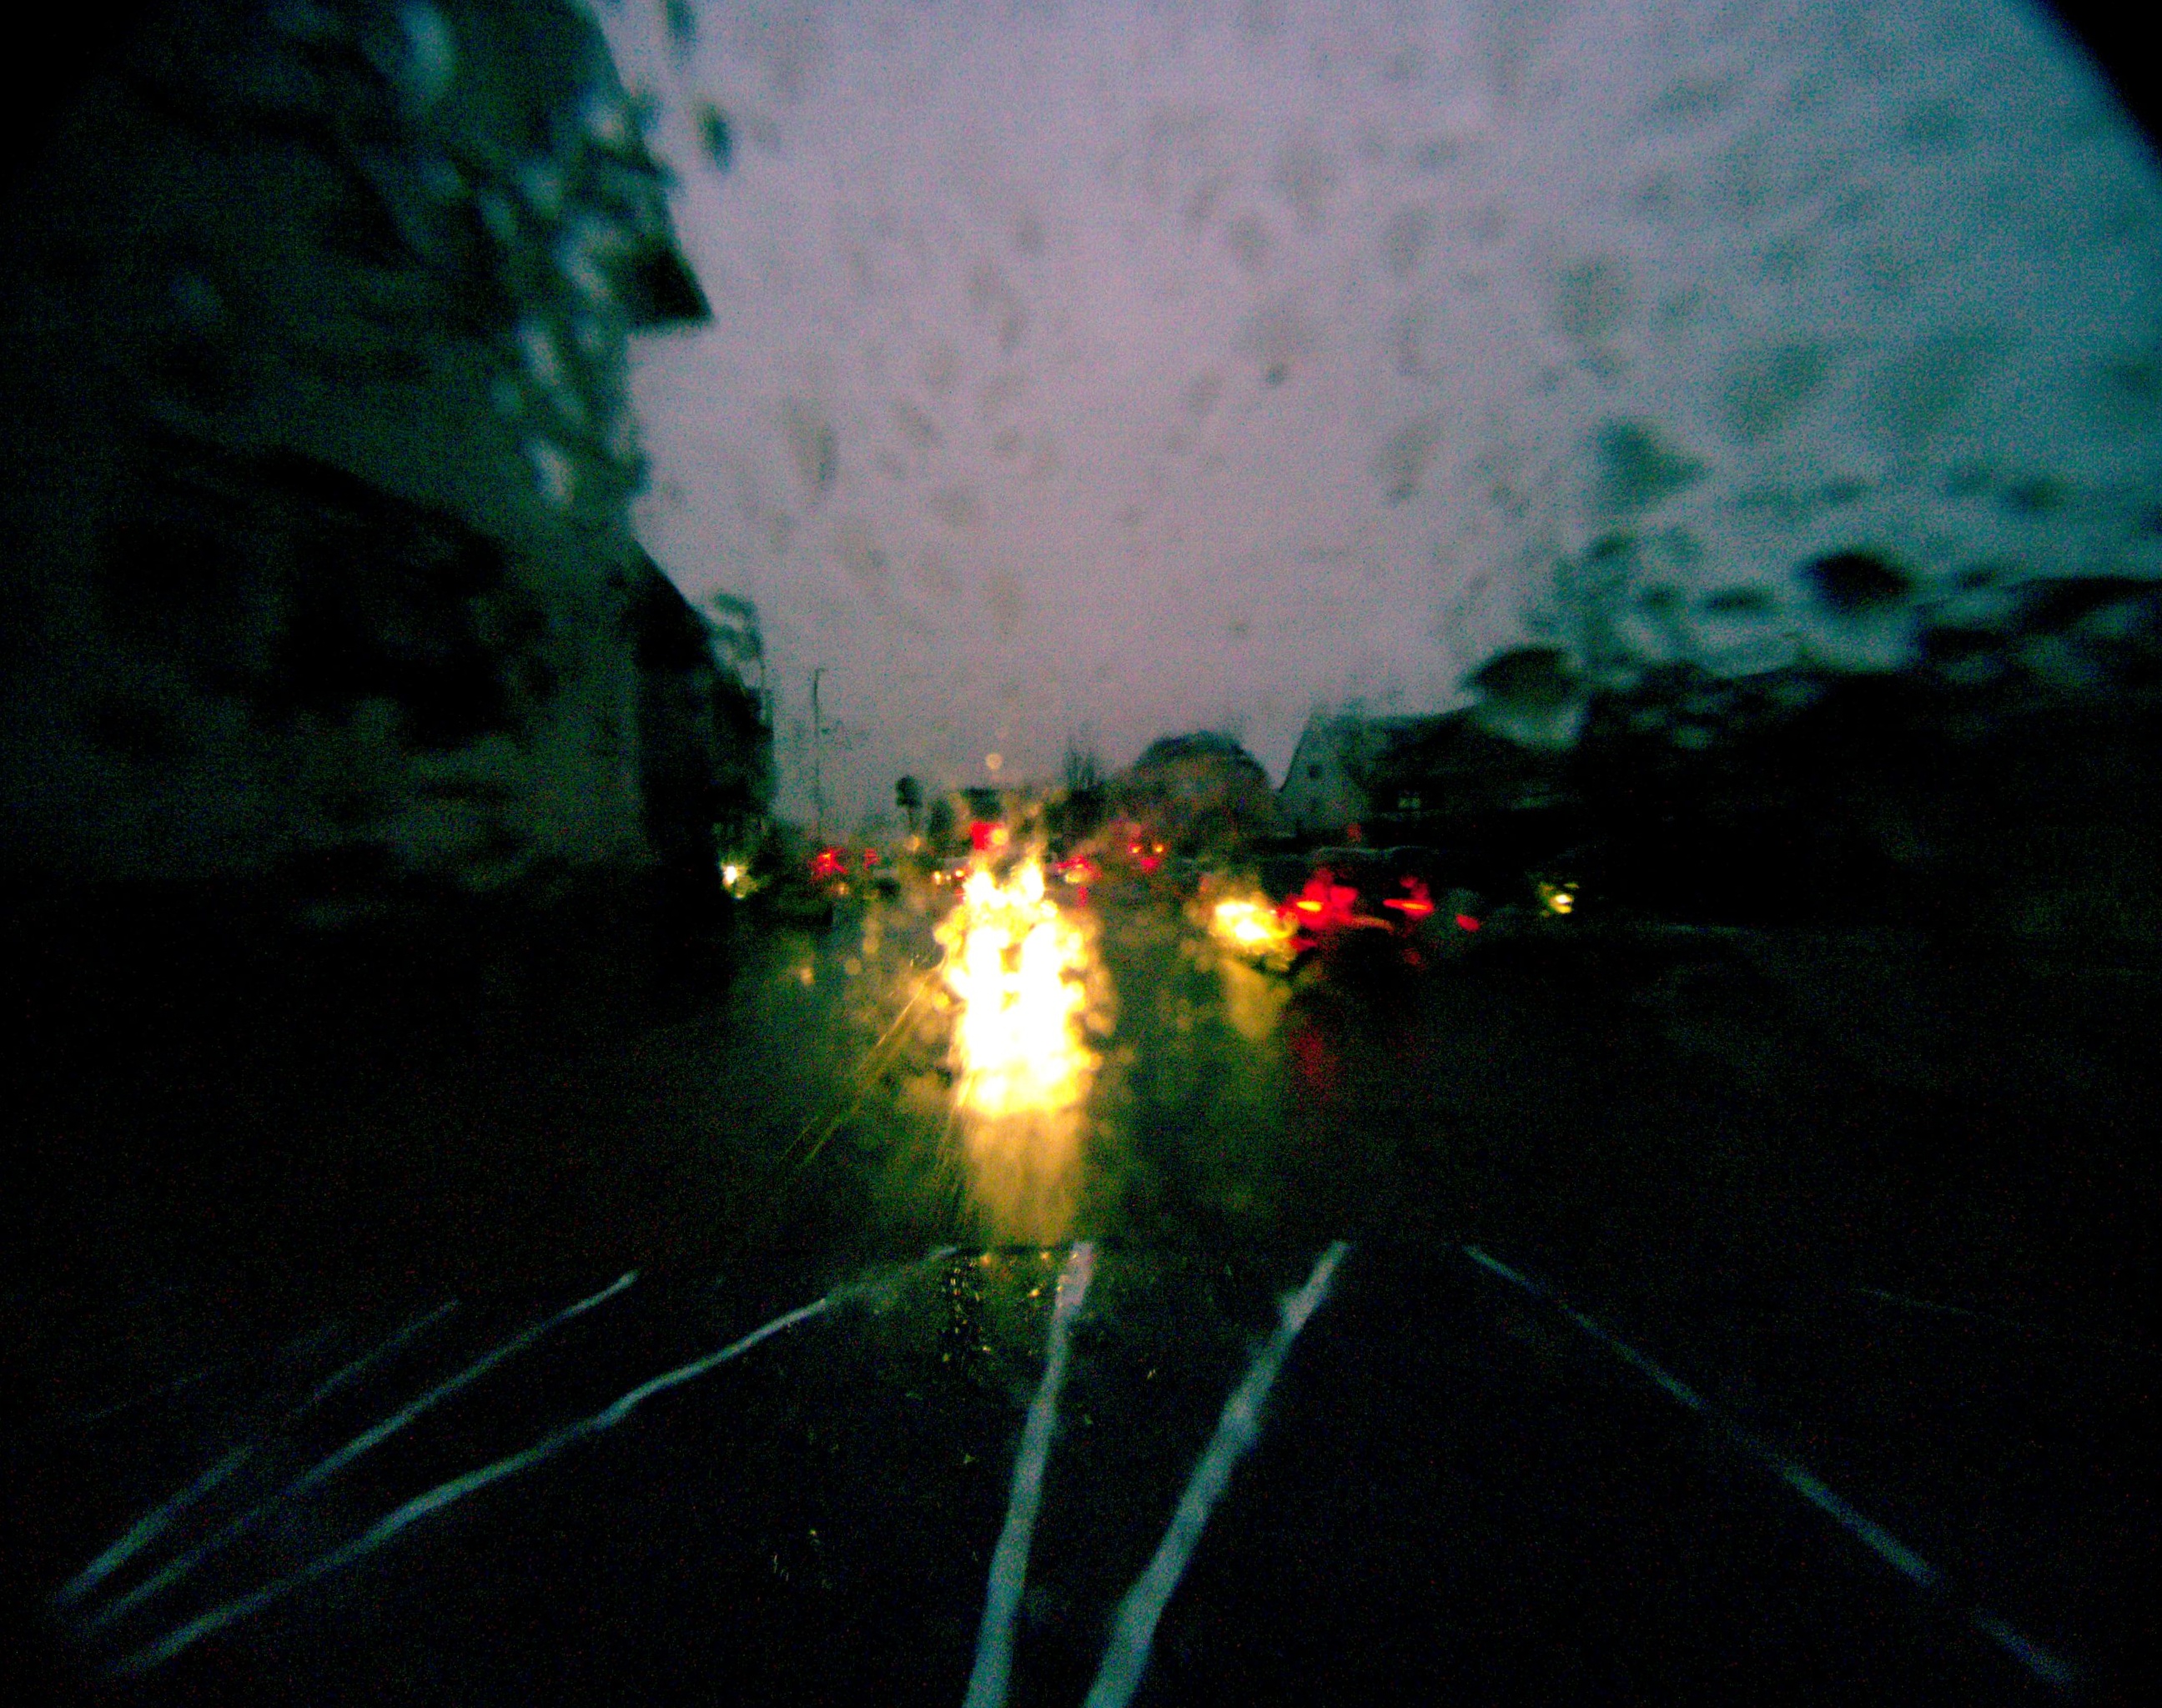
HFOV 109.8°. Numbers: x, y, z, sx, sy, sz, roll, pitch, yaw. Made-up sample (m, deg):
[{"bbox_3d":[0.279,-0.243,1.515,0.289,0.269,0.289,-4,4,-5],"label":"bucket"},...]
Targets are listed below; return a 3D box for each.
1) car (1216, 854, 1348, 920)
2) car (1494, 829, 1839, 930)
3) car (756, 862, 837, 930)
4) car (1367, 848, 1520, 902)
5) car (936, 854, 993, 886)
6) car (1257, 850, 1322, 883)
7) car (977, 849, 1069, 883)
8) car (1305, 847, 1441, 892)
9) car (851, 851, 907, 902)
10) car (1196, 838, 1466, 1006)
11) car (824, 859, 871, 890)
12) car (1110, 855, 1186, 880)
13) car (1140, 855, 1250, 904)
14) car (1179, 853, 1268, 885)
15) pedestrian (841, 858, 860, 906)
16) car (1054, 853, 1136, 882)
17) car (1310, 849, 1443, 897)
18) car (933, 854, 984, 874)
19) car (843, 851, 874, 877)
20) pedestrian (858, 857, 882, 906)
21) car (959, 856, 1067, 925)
[{"bbox_3d":[5.218,0.805,20.235,1.840,1.527,3.671,-2,0,-13],"label":"car"},{"bbox_3d":[11.915,0.472,16.022,5.385,1.874,2.077,0,0,21],"label":"car"},{"bbox_3d":[-7.365,0.984,19.471,1.741,1.552,3.656,0,0,-24],"label":"car"},{"bbox_3d":[10.991,0.641,23.354,3.992,1.521,2.003,-1,0,18],"label":"car"},{"bbox_3d":[-6.896,0.890,44.506,1.955,1.740,4.840,1,0,-26],"label":"car"},{"bbox_3d":[11.612,0.655,42.584,1.722,1.718,3.994,-2,1,-15],"label":"car"},{"bbox_3d":[-3.827,0.782,49.786,5.780,1.934,1.989,-2,0,-11],"label":"car"},{"bbox_3d":[11.063,0.562,29.115,4.647,1.644,1.990,0,1,14],"label":"car"},{"bbox_3d":[-8.620,0.897,32.209,1.981,1.948,4.844,-1,0,-18],"label":"car"},{"bbox_3d":[3.209,0.776,11.003,2.147,1.850,4.741,-1,0,-2],"label":"car"},{"bbox_3d":[-13.377,1.150,43.413,1.983,1.651,4.451,-1,-1,-25],"label":"car"},{"bbox_3d":[4.572,0.955,52.181,4.773,1.625,1.998,1,-1,-16],"label":"car"},{"bbox_3d":[3.853,0.845,26.558,1.913,1.524,4.248,-1,0,-21],"label":"car"},{"bbox_3d":[6.786,0.709,36.349,4.068,1.451,1.759,-1,1,9],"label":"car"},{"bbox_3d":[-8.125,0.980,26.740,0.581,1.659,0.790,0,0,-20],"label":"pedestrian"},{"bbox_3d":[0.849,0.770,46.409,4.454,1.623,2.151,-1,1,-24],"label":"car"},{"bbox_3d":[10.121,0.626,26.360,4.106,1.573,1.722,0,1,14],"label":"car"},{"bbox_3d":[-11.583,0.965,72.051,4.434,1.790,1.841,-1,0,-26],"label":"car"},{"bbox_3d":[-22.504,1.031,76.732,2.204,2.476,6.131,-1,0,-24],"label":"car"},{"bbox_3d":[-7.515,0.969,27.005,0.716,1.689,0.803,0,0,-23],"label":"pedestrian"},{"bbox_3d":[-2.054,0.915,21.335,2.272,1.633,5.059,-1,0,-14],"label":"car"}]
